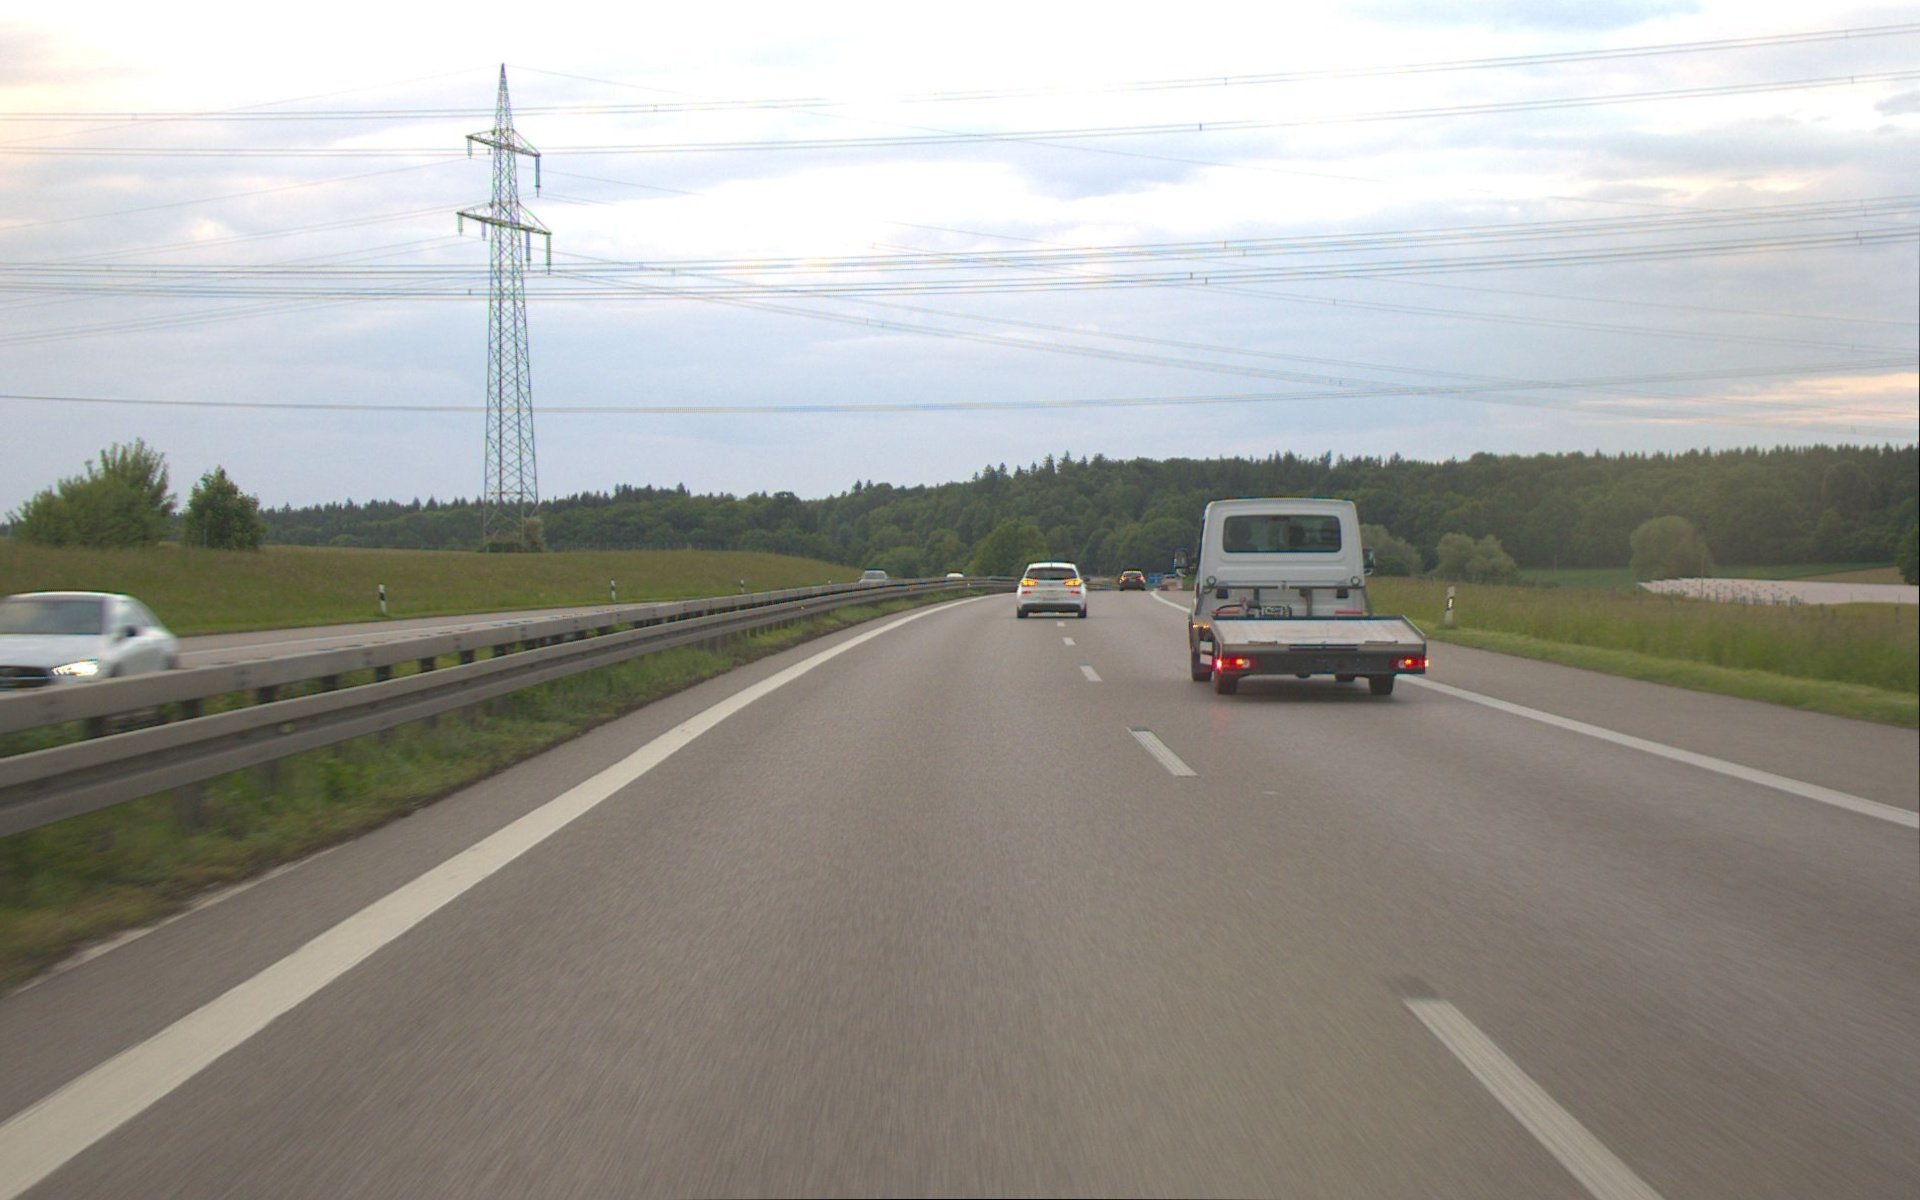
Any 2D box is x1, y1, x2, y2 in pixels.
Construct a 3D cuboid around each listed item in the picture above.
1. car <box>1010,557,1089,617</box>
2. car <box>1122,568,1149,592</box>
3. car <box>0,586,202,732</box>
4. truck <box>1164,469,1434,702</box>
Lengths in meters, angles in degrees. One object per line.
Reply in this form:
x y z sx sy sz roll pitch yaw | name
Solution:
2.368 -0.350 89.971 1.952 1.526 4.080 1 1 3 | car
12.643 -1.459 247.628 1.952 1.725 4.080 1 1 3 | car
-9.885 0.609 38.523 1.729 1.481 4.931 1 1 -1 | car
3.688 -0.186 38.900 2.171 2.352 7.697 1 1 -1 | truck
